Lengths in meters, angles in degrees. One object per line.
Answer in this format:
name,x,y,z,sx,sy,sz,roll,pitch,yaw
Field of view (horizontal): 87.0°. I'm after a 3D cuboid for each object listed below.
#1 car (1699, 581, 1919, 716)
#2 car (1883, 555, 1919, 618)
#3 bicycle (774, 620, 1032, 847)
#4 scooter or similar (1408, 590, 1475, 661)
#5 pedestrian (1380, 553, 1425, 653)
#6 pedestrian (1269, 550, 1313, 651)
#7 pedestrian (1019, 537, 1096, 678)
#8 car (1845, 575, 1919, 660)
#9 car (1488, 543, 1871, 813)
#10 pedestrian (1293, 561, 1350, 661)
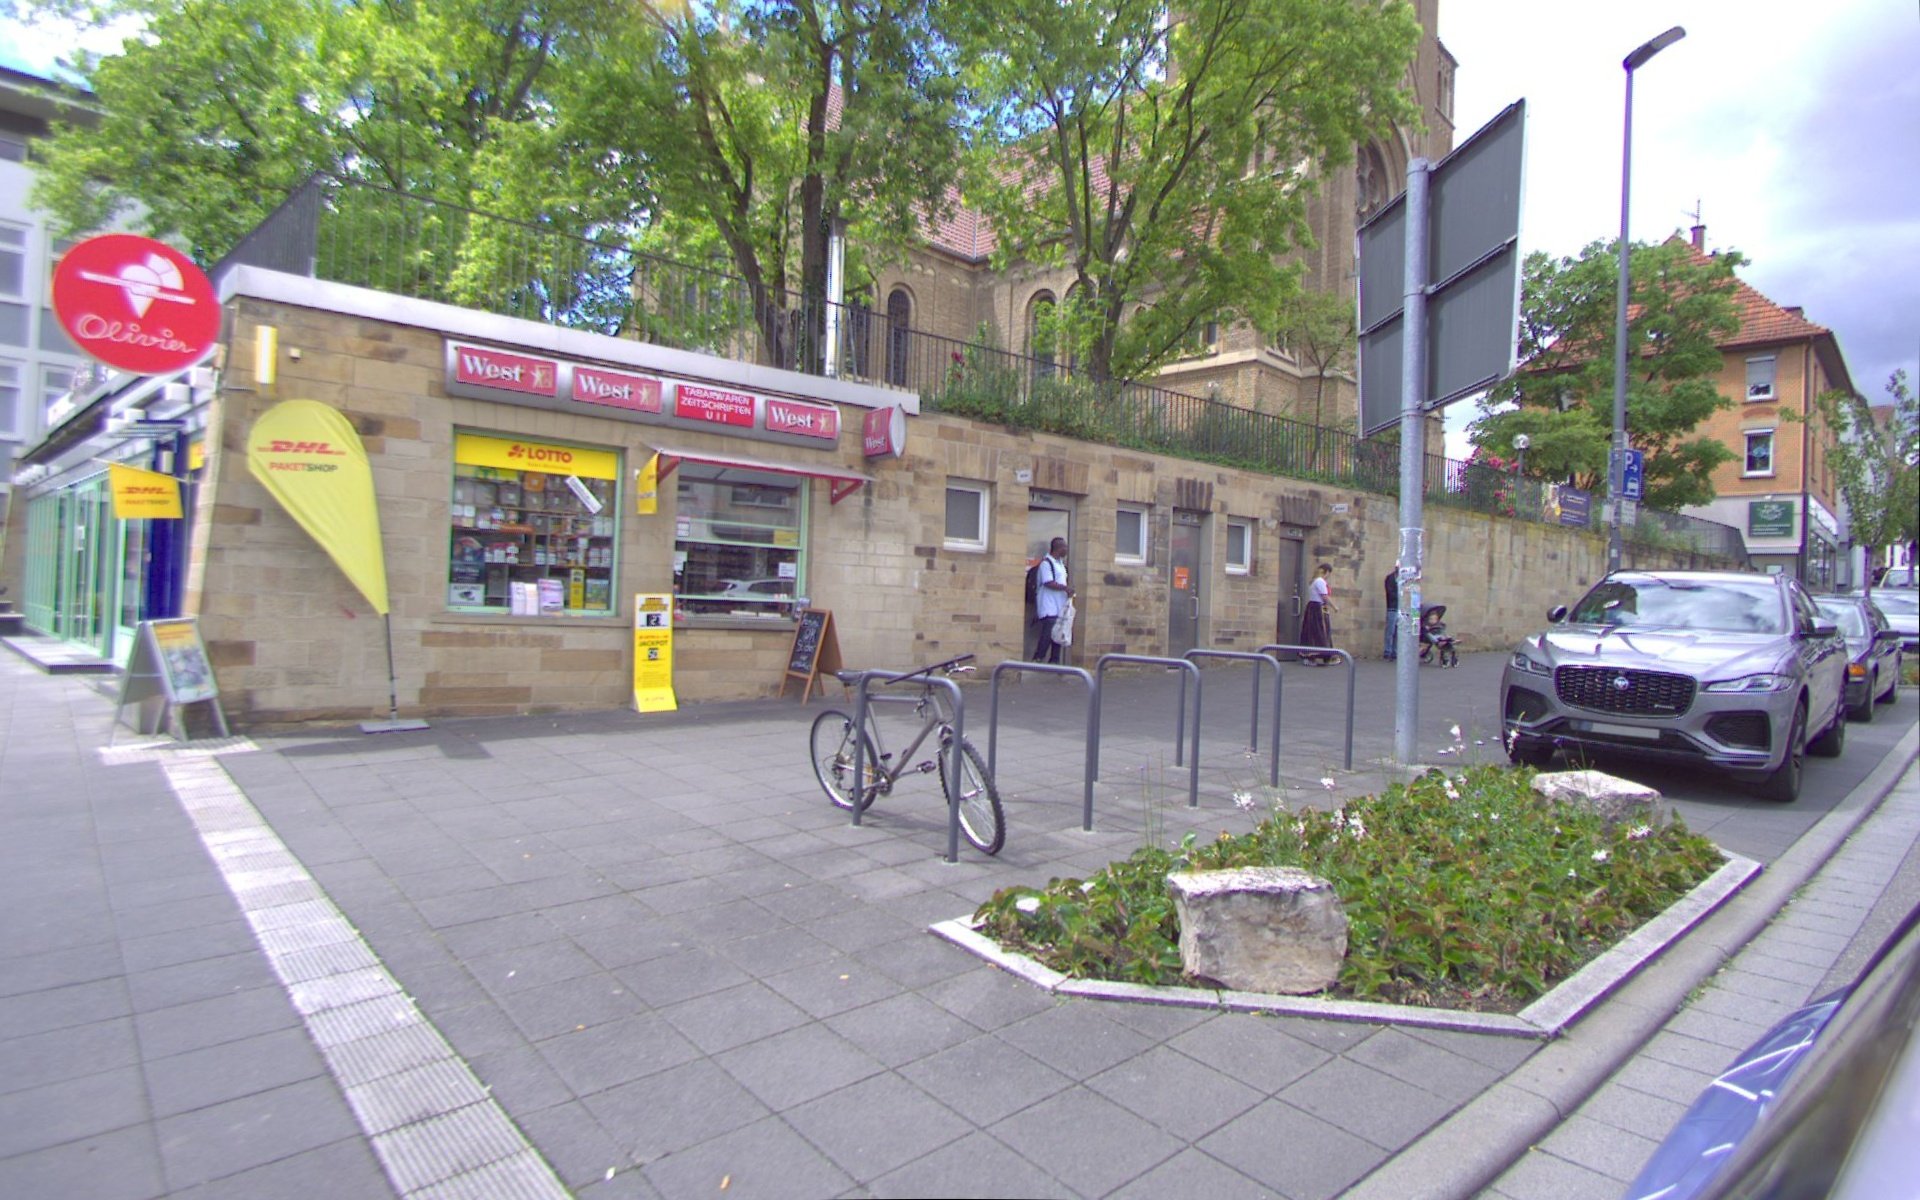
car,11.158,0.492,13.125,4.297,1.434,1.684,-1,2,-42
car,31.052,-0.474,32.115,4.941,1.870,1.890,-2,4,-39
bicycle,-0.383,0.668,5.669,1.727,1.008,0.340,3,3,44
scooter or similar,7.903,0.404,16.640,0.549,1.085,0.815,-1,3,-32
pedestrian,7.500,0.040,17.161,0.497,1.666,0.475,-1,3,-32
pedestrian,5.516,-0.007,16.859,0.497,1.666,0.475,-1,3,-32
pedestrian,1.263,0.075,13.089,0.596,1.751,0.750,4,3,44
car,18.727,0.287,19.909,1.755,1.458,4.025,3,4,44
car,6.423,0.434,8.810,4.499,1.745,1.930,-1,3,-45
pedestrian,5.704,0.156,15.968,0.572,1.542,0.591,0,1,-32
